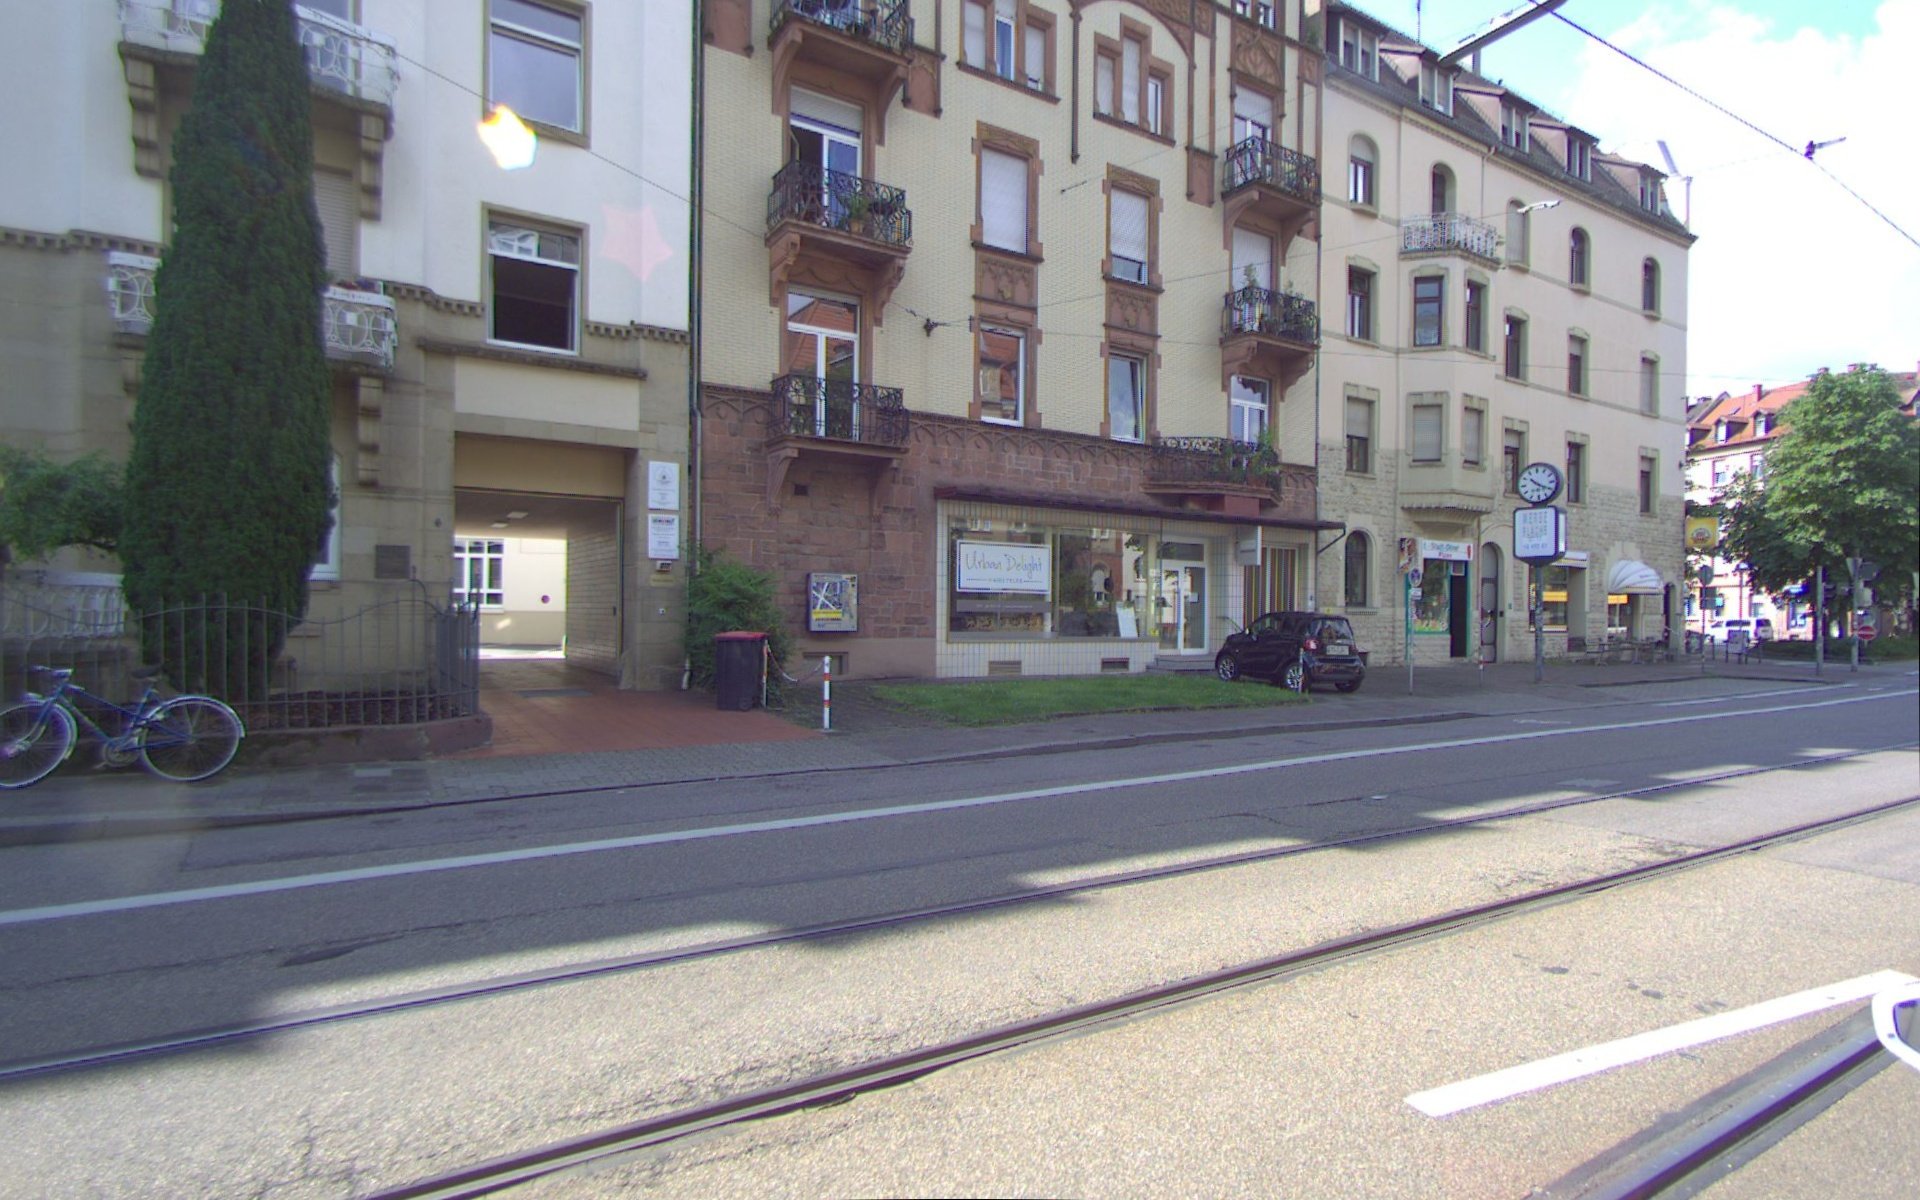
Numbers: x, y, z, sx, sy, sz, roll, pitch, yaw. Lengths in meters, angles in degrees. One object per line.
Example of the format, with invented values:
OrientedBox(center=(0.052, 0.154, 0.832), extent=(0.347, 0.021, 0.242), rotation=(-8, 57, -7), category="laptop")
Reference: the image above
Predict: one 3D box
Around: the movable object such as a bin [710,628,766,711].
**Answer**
OrientedBox(center=(-3.075, 0.955, 13.970), extent=(0.595, 1.084, 0.597), rotation=(2, 2, 2), category="movable object such as a bin")

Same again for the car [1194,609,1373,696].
OrientedBox(center=(6.562, 1.011, 20.661), extent=(1.658, 1.533, 3.222), rotation=(1, 1, -28), category="car")

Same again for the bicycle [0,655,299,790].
OrientedBox(center=(-6.503, 0.982, 8.171), extent=(1.791, 0.972, 0.509), rotation=(3, 1, -26), category="bicycle")

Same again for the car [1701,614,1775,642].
OrientedBox(center=(60.320, 2.181, 77.954), extent=(1.971, 2.039, 4.113), rotation=(1, -4, -22), category="car")
